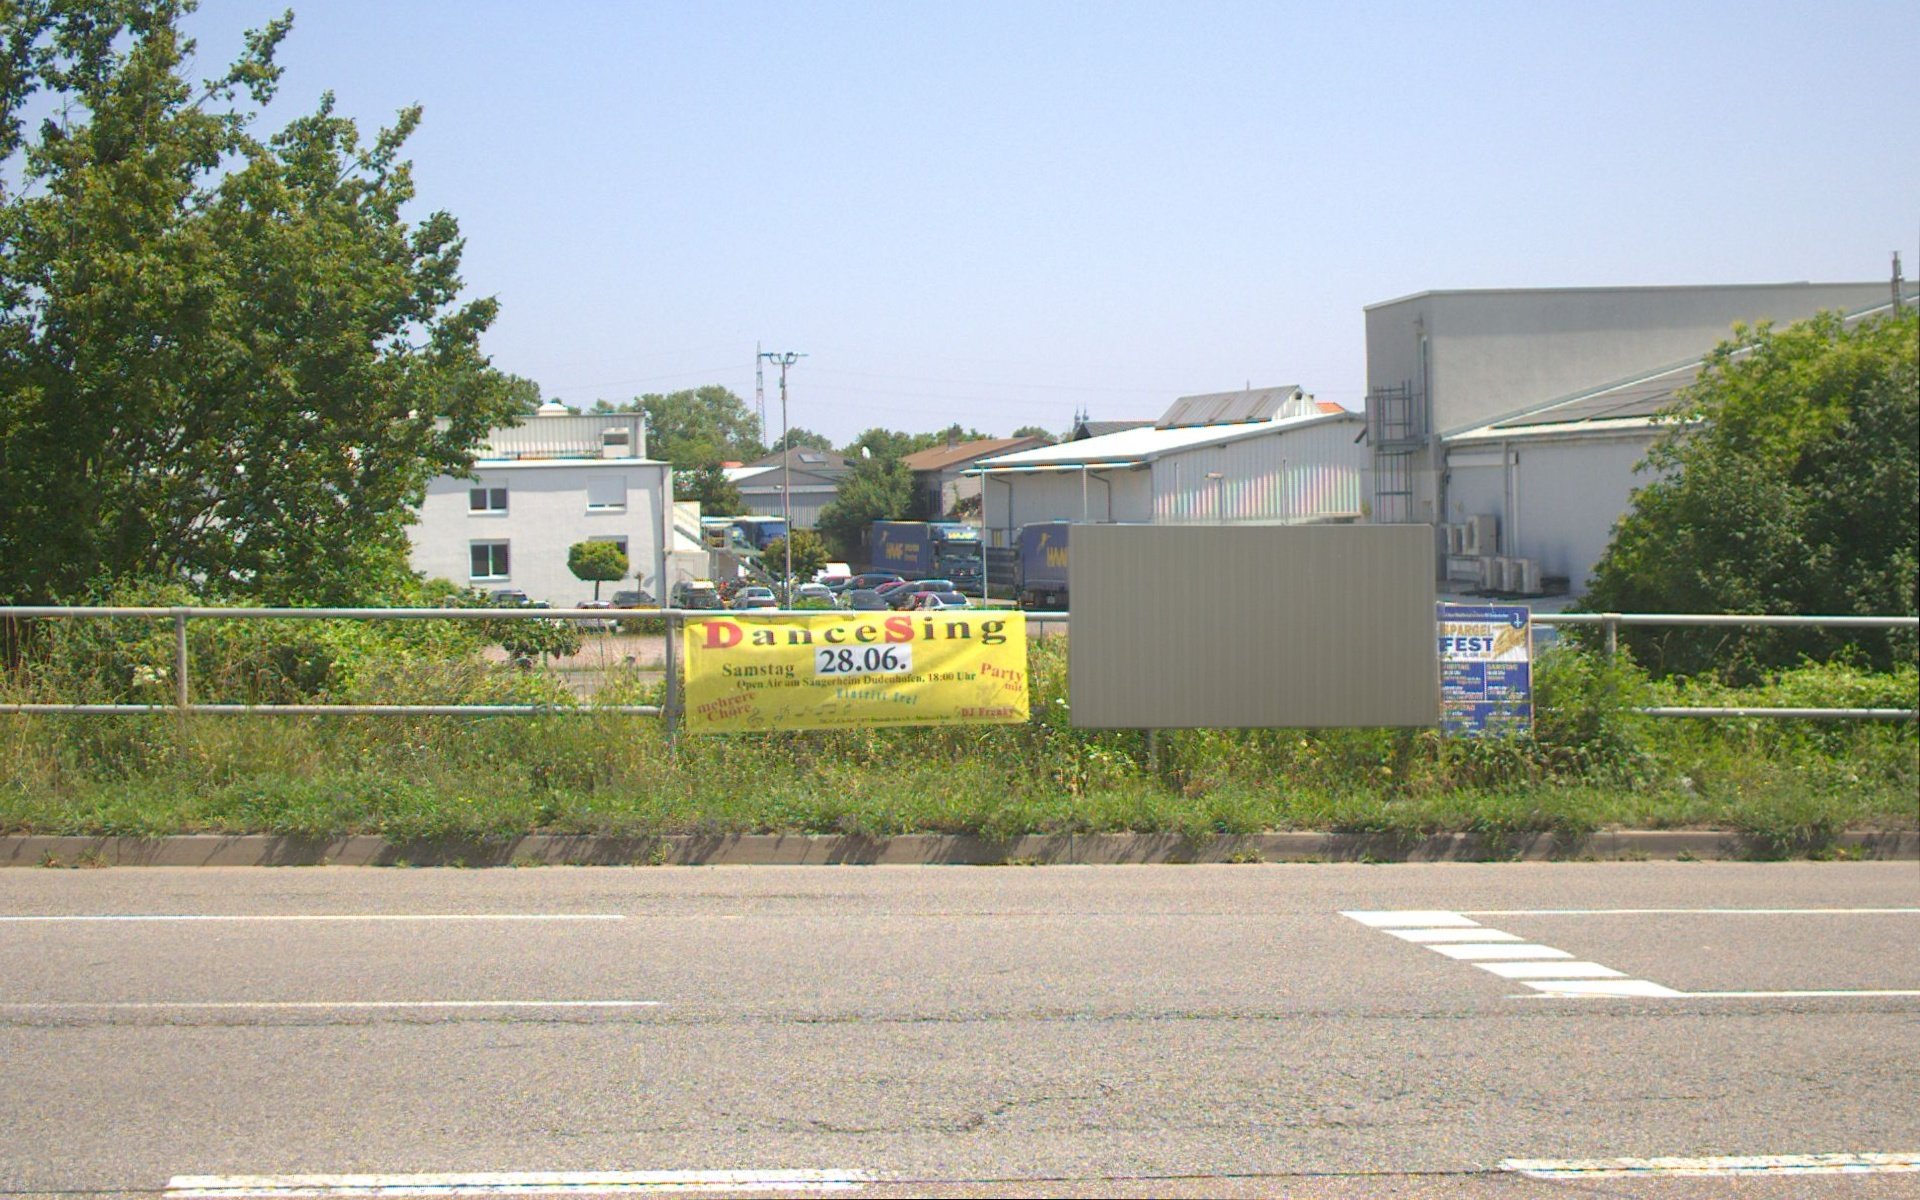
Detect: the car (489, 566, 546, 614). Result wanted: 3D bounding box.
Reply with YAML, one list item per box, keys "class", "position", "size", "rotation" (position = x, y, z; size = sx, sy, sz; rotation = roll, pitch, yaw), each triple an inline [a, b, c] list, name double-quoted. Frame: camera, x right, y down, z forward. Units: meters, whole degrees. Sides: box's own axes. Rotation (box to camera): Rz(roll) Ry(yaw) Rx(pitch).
- class: "car"
  position: [-19.704, -0.466, 152.946]
  size: [1.993, 2.007, 4.865]
  rotation: [0, 1, -13]

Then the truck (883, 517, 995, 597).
- class: "truck"
  position: [-1.290, -2.443, 192.168]
  size: [3.411, 4.296, 14.598]
  rotation: [0, 1, -12]

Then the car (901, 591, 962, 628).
- class: "car"
  position: [-1.196, 0.395, 141.014]
  size: [1.683, 1.358, 3.837]
  rotation: [-3, 2, -12]

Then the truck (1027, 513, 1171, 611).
- class: "truck"
  position: [6.266, -1.802, 158.463]
  size: [3.707, 4.296, 13.346]
  rotation: [0, 1, -11]

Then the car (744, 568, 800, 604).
- class: "car"
  position: [-9.572, -0.704, 174.645]
  size: [1.993, 1.725, 4.865]
  rotation: [0, 1, -13]

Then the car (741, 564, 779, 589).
- class: "car"
  position: [-10.658, -1.262, 183.176]
  size: [1.450, 1.346, 3.317]
  rotation: [0, 1, -13]

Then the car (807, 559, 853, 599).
- class: "car"
  position: [-6.856, -1.112, 181.003]
  size: [1.716, 2.007, 4.001]
  rotation: [0, 1, -12]
